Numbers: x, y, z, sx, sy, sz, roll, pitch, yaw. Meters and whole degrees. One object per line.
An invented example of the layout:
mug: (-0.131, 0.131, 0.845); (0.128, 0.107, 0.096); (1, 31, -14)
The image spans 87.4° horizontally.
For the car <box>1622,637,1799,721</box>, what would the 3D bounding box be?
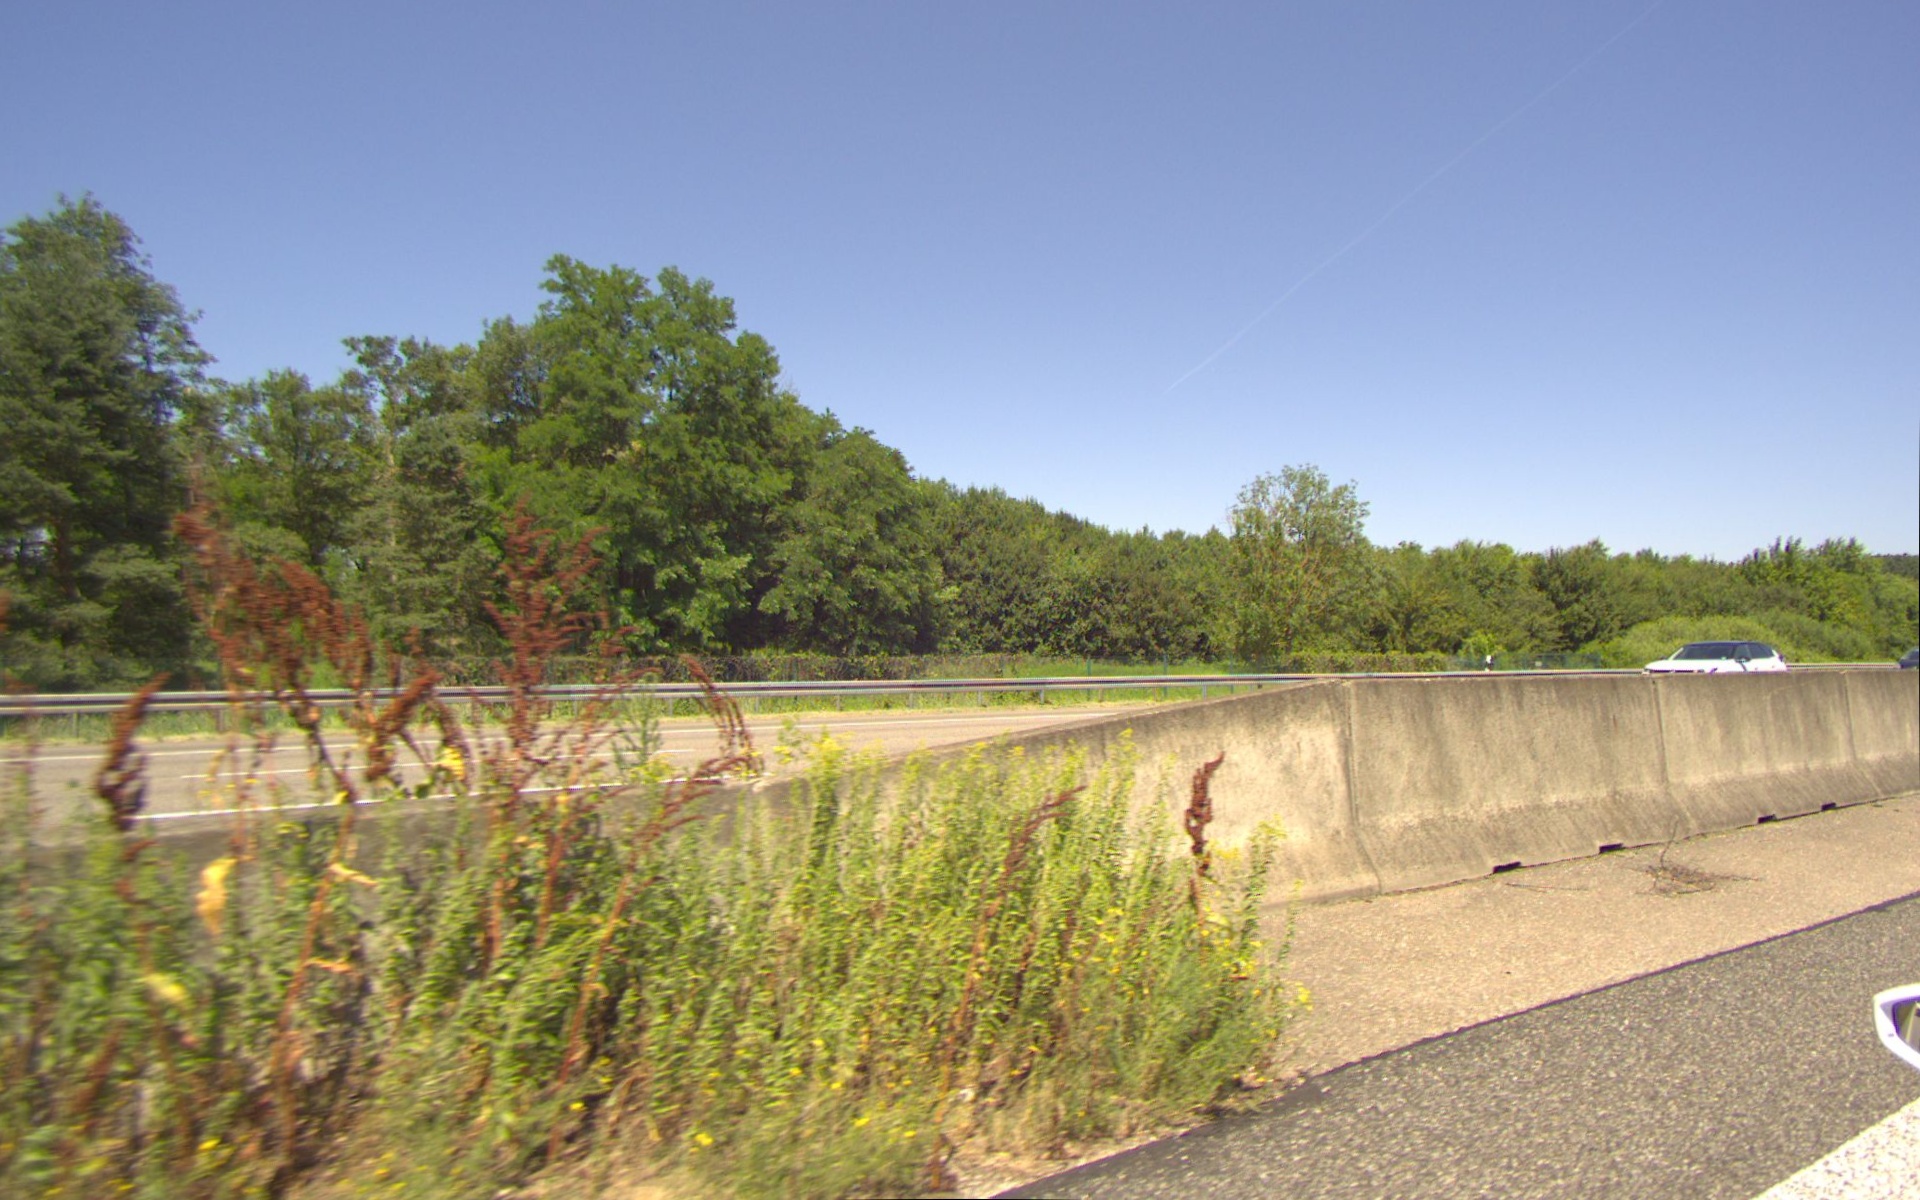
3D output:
car: (19.862, 2.040, 26.543); (4.881, 2.039, 1.985); (2, -4, -30)

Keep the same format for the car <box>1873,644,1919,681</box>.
car: (42.995, 2.772, 44.867); (4.629, 1.578, 1.985); (2, -3, -30)
